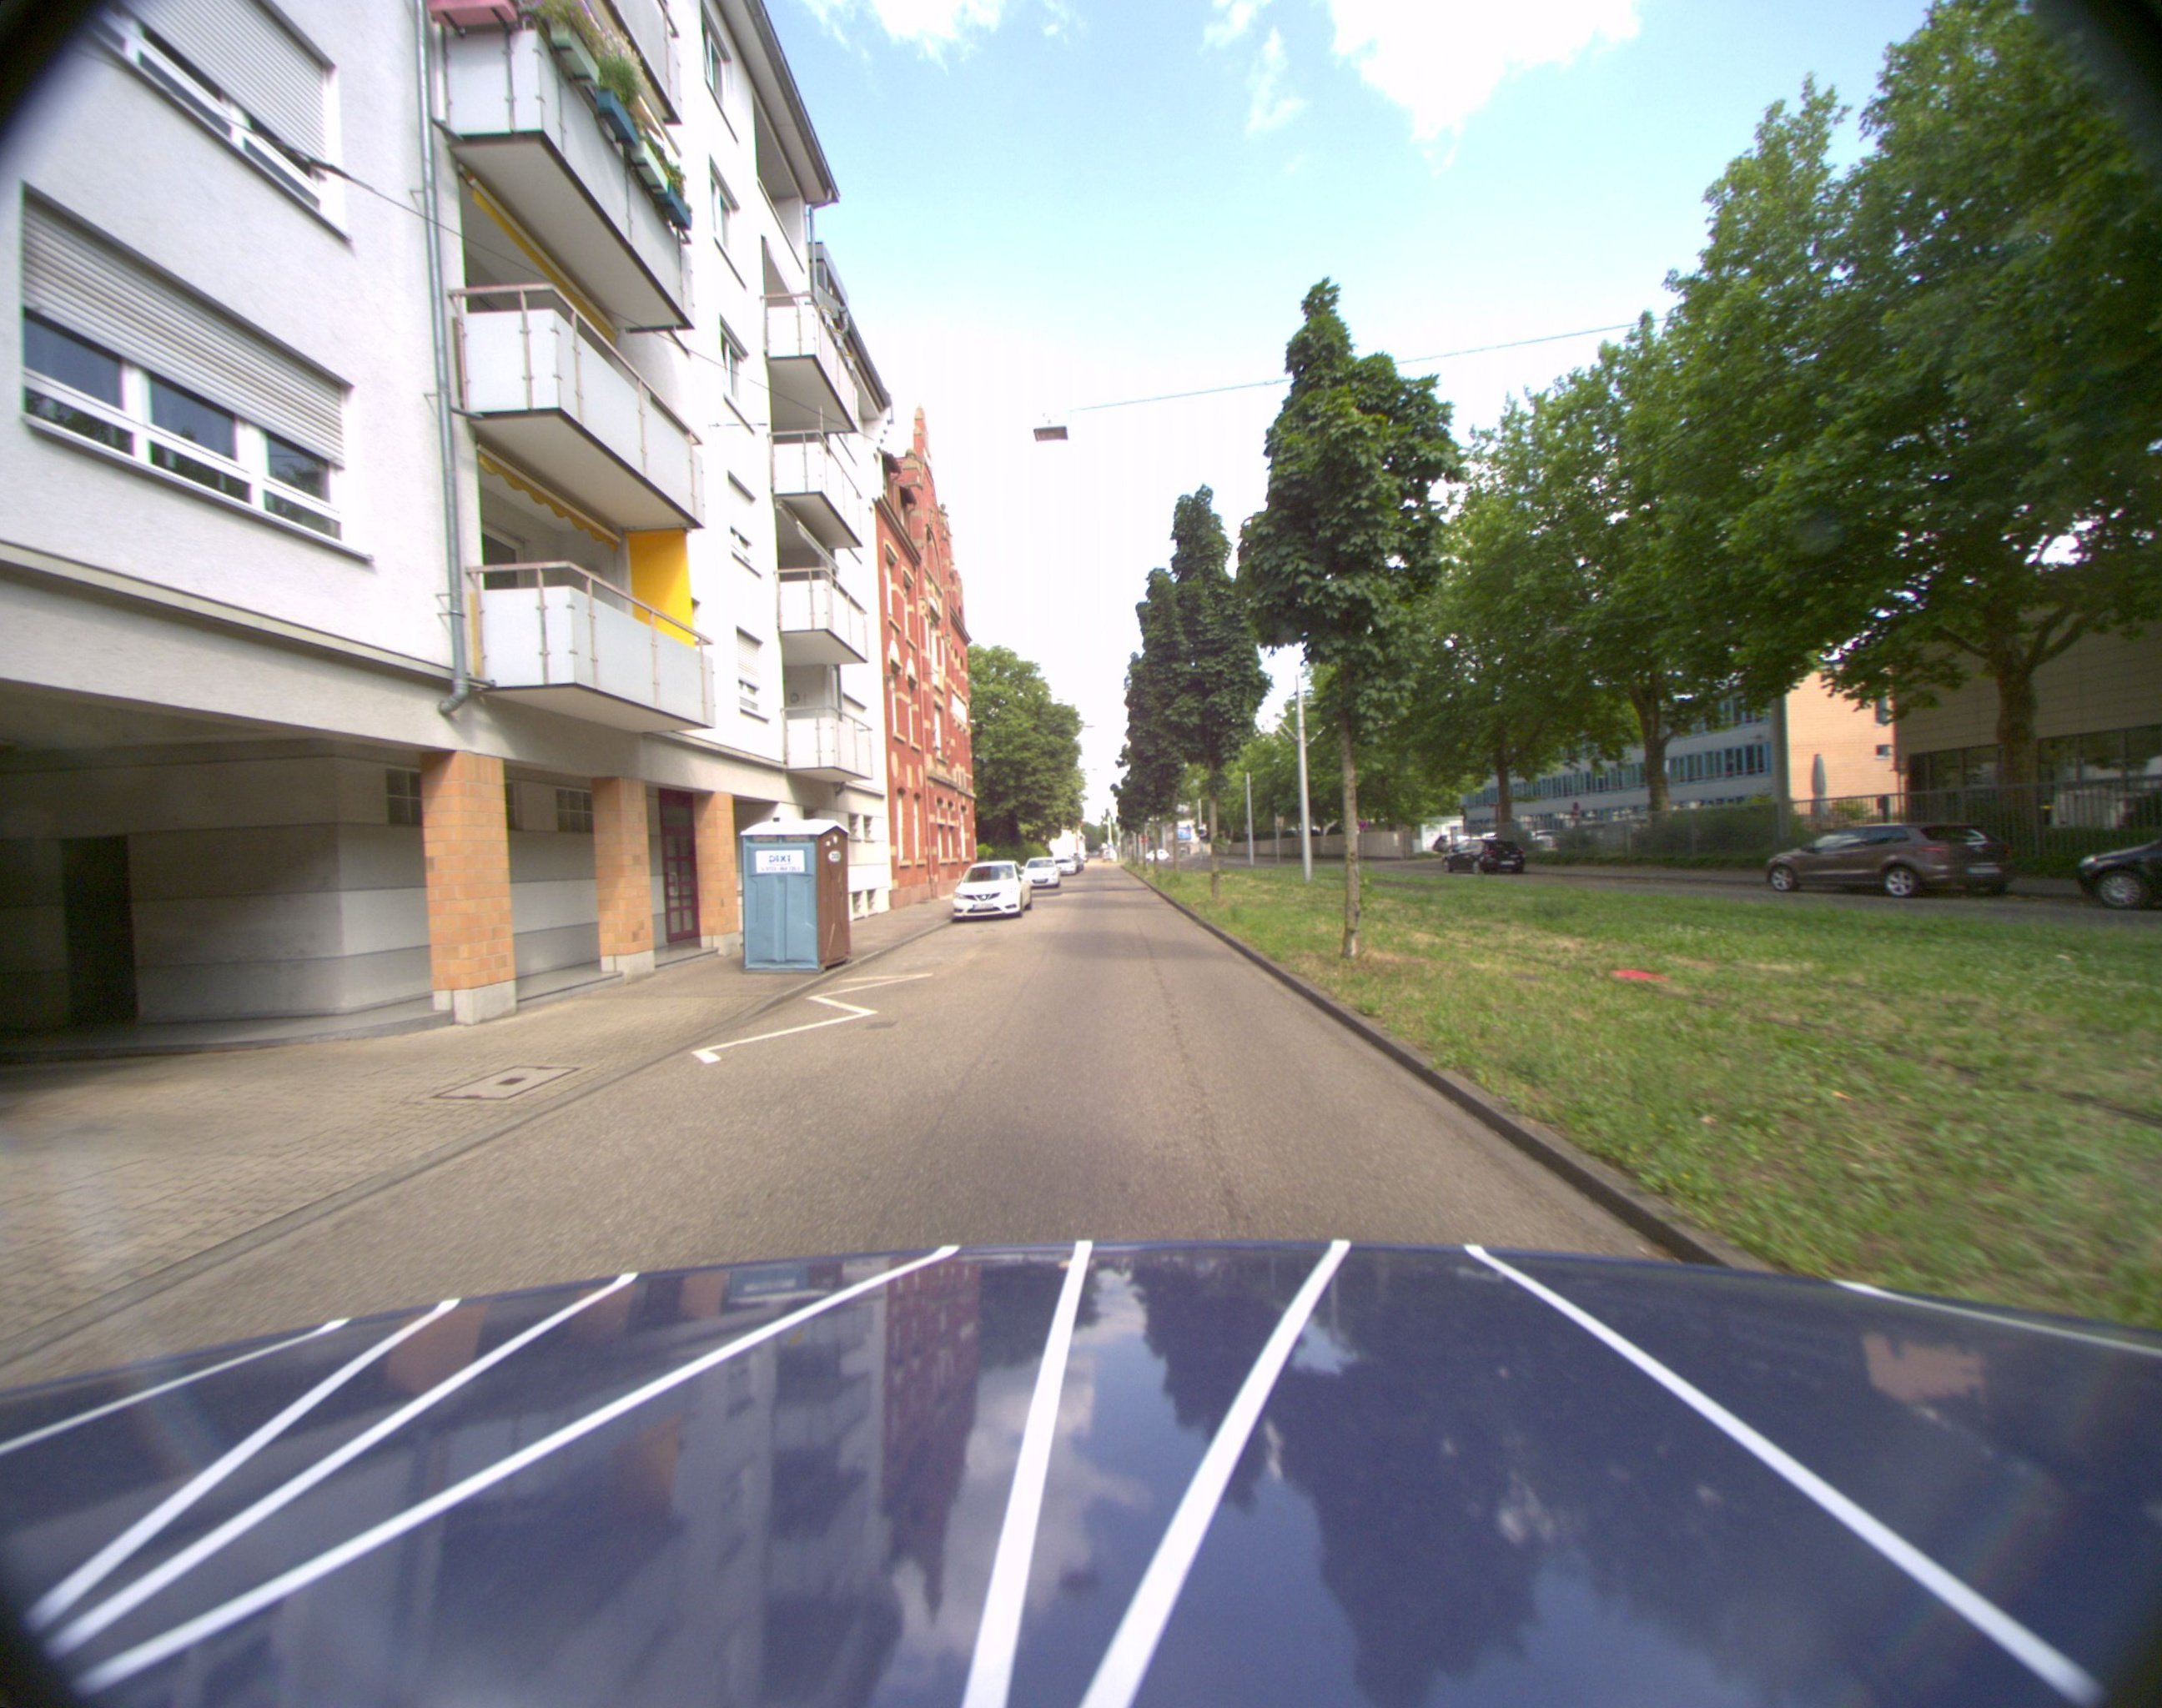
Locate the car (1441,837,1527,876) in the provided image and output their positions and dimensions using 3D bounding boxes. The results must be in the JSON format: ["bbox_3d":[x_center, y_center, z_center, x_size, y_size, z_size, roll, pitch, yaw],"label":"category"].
[{"bbox_3d":[16.614,0.065,31.509,1.601,1.455,4.001,-3,1,4],"label":"car"}]

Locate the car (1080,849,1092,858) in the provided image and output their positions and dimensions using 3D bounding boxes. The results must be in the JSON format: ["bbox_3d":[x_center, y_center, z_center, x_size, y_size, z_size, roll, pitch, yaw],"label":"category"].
[{"bbox_3d":[0.904,-0.078,133.316,1.801,1.521,4.041,-5,0,2],"label":"car"}]

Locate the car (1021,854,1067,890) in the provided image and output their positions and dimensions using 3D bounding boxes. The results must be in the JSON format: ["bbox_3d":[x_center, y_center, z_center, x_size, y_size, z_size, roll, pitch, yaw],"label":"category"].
[{"bbox_3d":[-1.752,0.832,37.181,1.801,1.521,4.041,-4,1,2],"label":"car"}]

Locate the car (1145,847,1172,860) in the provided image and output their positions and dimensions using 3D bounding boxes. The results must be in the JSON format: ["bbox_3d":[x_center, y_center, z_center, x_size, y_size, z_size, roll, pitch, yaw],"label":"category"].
[{"bbox_3d":[10.462,-0.049,101.981,1.798,1.521,4.048,-3,1,35],"label":"car"}]

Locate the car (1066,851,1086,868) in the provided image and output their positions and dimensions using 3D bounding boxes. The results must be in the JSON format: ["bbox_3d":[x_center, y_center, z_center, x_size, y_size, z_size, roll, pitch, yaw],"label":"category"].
[{"bbox_3d":[-0.471,0.506,75.882,1.801,1.521,4.041,-5,0,2],"label":"car"}]

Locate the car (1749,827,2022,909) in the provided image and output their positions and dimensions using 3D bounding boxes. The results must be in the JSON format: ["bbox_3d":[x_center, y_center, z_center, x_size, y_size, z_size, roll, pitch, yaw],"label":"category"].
[{"bbox_3d":[16.268,0.235,15.694,1.558,1.417,3.902,-3,1,2],"label":"car"}]

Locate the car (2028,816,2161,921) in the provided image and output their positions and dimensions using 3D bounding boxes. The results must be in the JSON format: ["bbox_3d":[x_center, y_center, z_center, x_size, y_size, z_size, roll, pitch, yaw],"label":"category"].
[{"bbox_3d":[16.048,0.190,10.212,1.807,1.444,4.001,-3,1,5],"label":"car"}]

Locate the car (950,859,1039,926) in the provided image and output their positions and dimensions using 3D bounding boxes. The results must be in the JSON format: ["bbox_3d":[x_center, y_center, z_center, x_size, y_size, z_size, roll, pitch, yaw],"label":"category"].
[{"bbox_3d":[-2.290,0.978,21.077,1.801,1.521,4.041,-3,0,2],"label":"car"}]

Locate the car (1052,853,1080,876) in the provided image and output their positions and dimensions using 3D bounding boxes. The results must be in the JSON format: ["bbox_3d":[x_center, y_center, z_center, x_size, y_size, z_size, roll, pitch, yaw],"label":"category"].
[{"bbox_3d":[-1.118,0.756,58.684,1.801,1.521,4.041,-5,0,2],"label":"car"}]

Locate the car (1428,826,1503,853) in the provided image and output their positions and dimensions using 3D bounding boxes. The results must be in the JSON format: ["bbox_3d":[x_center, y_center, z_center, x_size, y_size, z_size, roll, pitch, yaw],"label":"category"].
[{"bbox_3d":[25.823,-0.976,51.075,3.997,1.609,2.000,-2,1,1],"label":"car"}]
